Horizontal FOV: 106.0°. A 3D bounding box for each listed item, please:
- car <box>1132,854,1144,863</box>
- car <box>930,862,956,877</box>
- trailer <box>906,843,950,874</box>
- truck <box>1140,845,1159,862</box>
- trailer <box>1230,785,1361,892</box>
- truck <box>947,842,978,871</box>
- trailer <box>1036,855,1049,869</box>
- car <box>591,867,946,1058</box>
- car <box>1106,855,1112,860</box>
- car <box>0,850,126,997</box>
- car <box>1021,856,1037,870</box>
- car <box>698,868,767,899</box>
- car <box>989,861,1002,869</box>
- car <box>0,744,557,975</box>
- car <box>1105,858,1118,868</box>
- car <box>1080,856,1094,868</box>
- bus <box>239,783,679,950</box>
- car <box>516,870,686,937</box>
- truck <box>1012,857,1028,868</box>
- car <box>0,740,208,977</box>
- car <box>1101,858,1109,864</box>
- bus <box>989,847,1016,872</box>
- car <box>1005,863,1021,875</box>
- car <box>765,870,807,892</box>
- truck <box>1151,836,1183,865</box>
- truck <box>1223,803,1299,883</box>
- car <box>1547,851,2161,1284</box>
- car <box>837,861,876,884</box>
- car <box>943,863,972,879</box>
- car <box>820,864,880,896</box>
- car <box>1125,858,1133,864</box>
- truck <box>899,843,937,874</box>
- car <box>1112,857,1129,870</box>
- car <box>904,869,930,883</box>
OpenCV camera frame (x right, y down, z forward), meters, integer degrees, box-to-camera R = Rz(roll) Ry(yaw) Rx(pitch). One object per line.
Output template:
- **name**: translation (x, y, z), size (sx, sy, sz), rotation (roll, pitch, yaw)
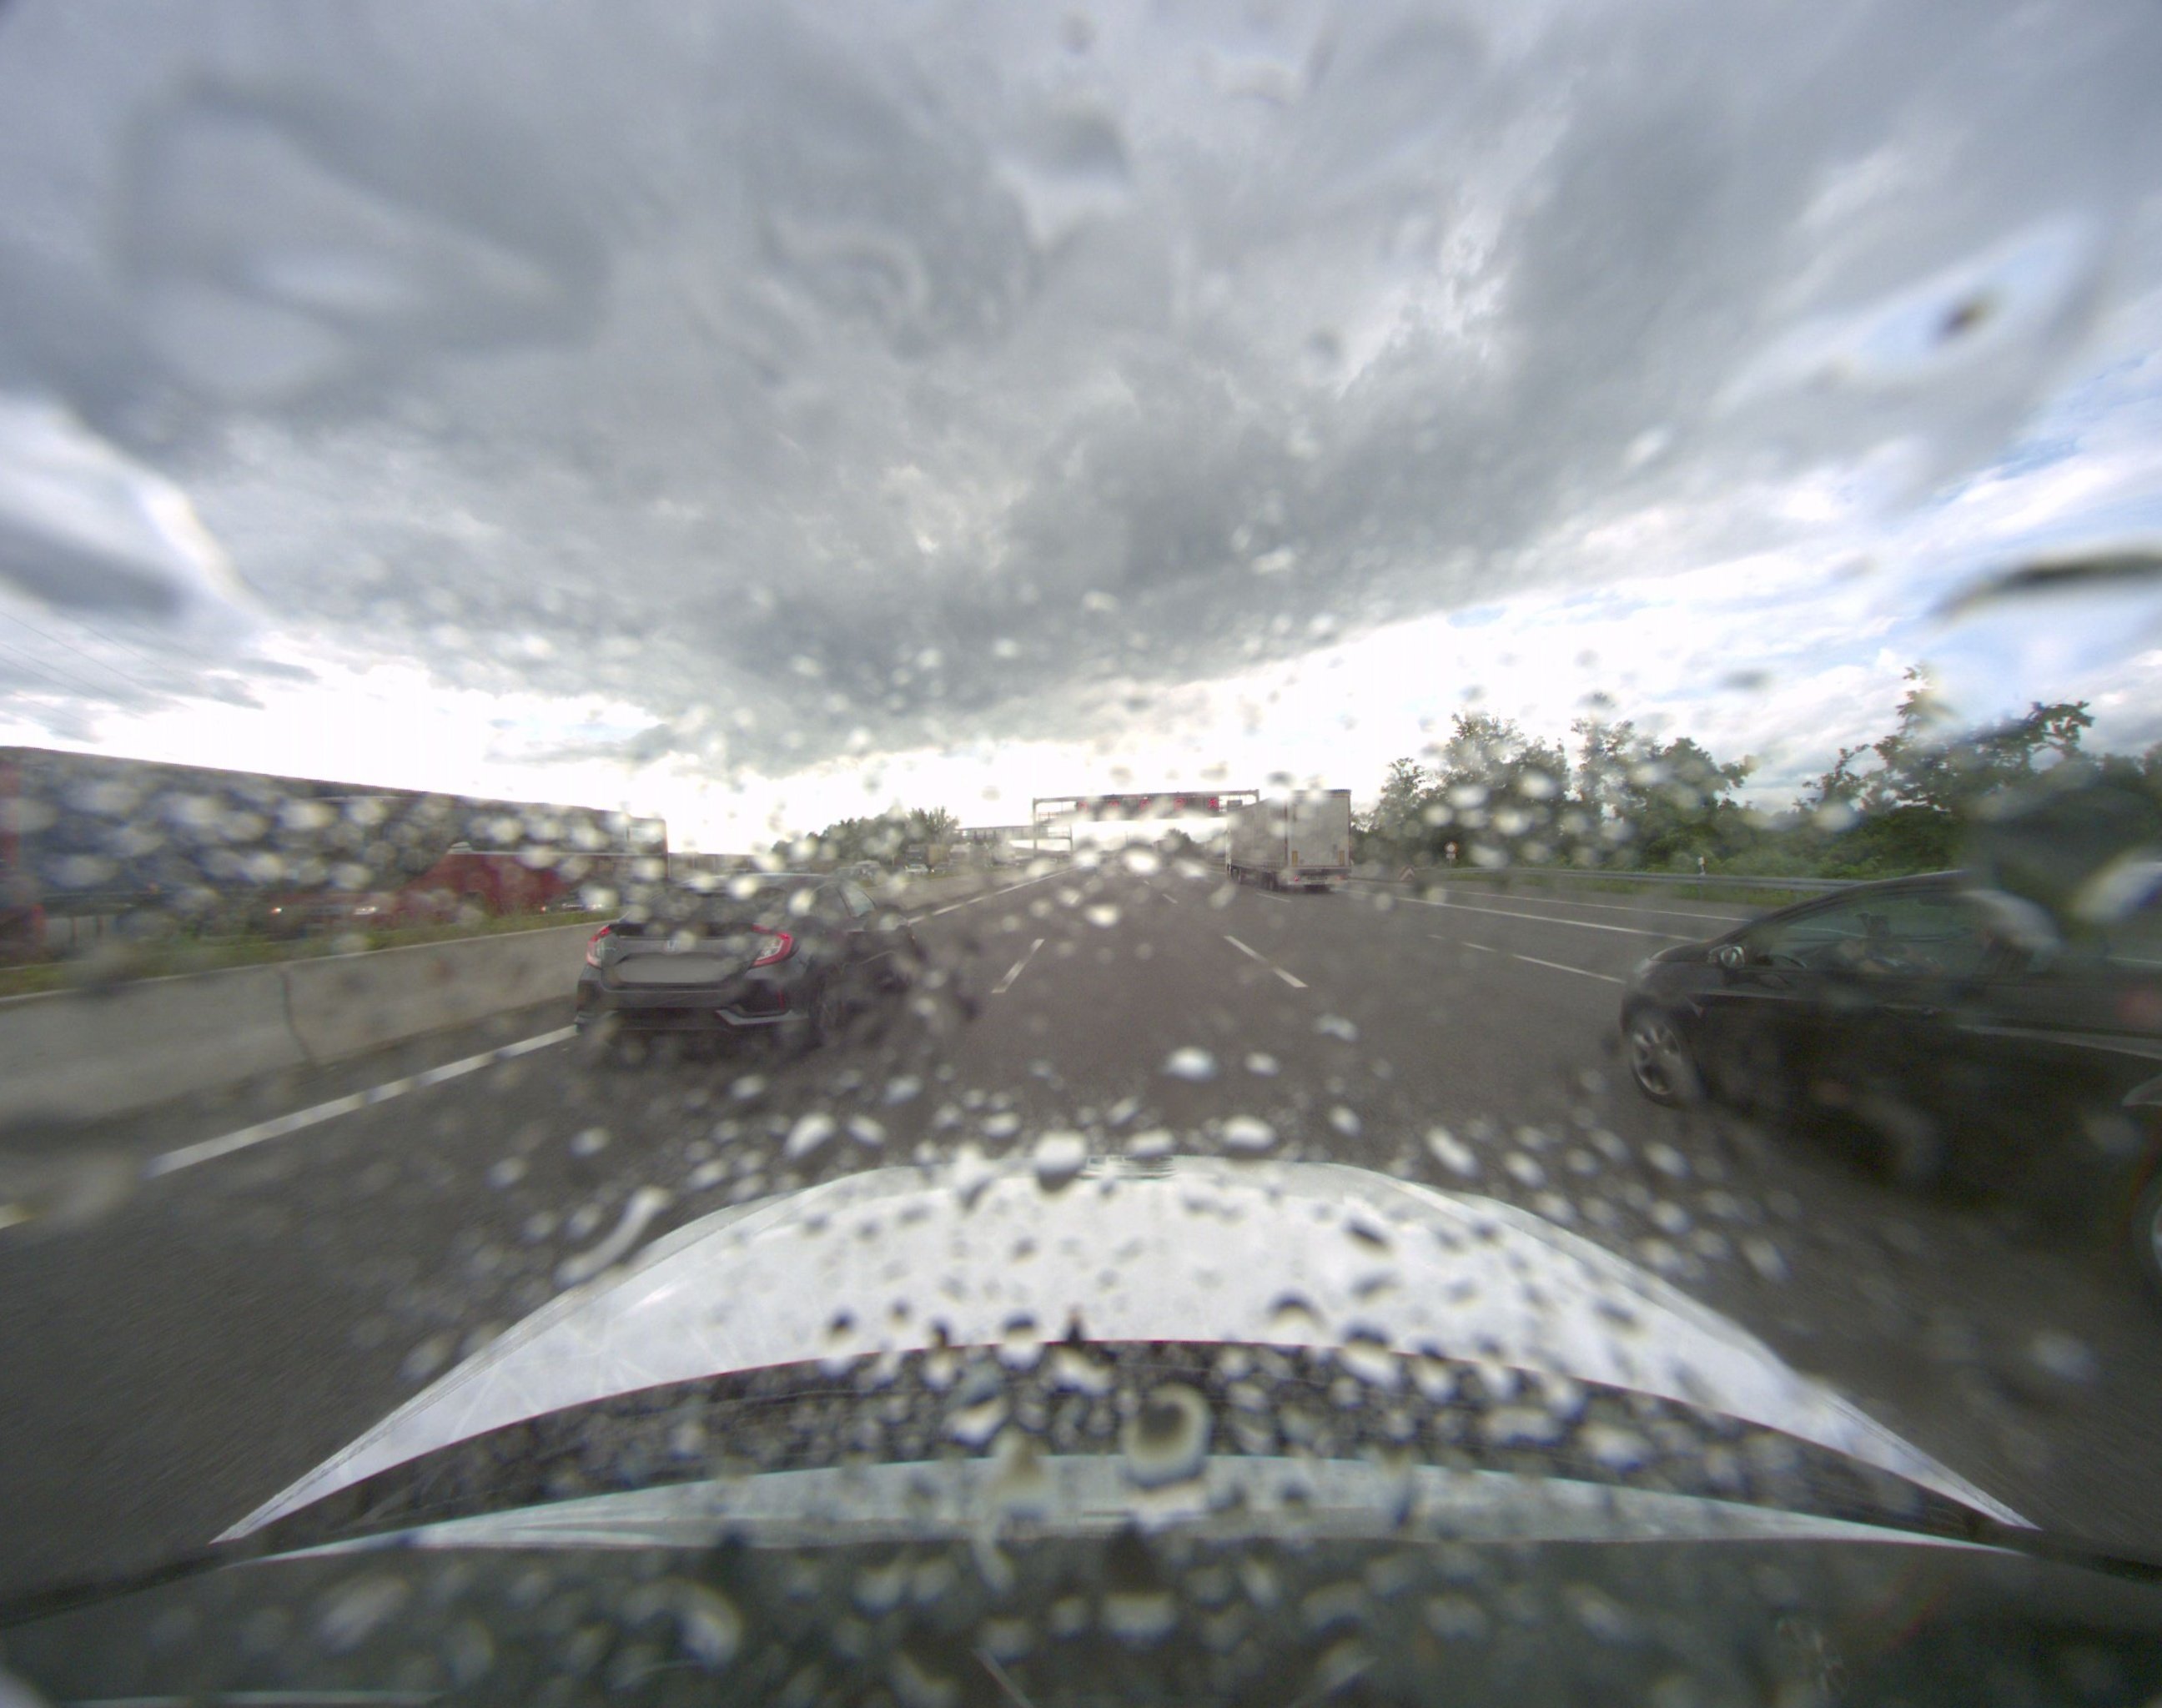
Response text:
- **car**: translation (9.369, 0.708, 133.857), size (1.829, 1.441, 4.057), rotation (-1, 0, 2)
- **car**: translation (-14.297, 1.584, 84.375), size (1.781, 1.381, 4.862), rotation (0, 0, 1)
- **trailer**: translation (-21.310, 0.643, 114.596), size (3.016, 3.933, 12.984), rotation (-2, -1, 3)
- **truck**: translation (17.577, -0.083, 209.230), size (4.227, 4.176, 11.995), rotation (0, 0, 2)
- **trailer**: translation (9.412, -0.594, 37.875), size (2.949, 4.020, 14.128), rotation (-1, 0, 3)
- **truck**: translation (-16.587, 0.317, 114.607), size (2.873, 3.961, 7.543), rotation (0, 0, 4)
- **trailer**: translation (-9.055, 1.846, 190.929), size (2.439, 3.138, 6.055), rotation (-2, 0, 3)
- **car**: translation (-2.832, 0.877, 8.814), size (1.754, 1.369, 5.062), rotation (-1, 0, 2)
- **car**: translation (8.343, 0.963, 244.220), size (1.765, 1.441, 4.057), rotation (-1, 0, 2)
- **car**: translation (-13.148, 0.790, 8.264), size (1.781, 1.666, 4.297), rotation (0, 0, 1)
- **car**: translation (-8.515, 1.437, 133.200), size (2.128, 2.352, 5.712), rotation (0, 0, 1)
- **car**: translation (-19.291, 1.590, 45.286), size (1.781, 1.591, 4.583), rotation (0, 0, 1)
- **car**: translation (-16.901, 2.114, 160.715), size (1.800, 1.488, 4.777), rotation (-2, -1, 3)
- **car**: translation (-20.277, 0.123, 21.721), size (2.972, 4.124, 14.398), rotation (0, 0, 1)
- **car**: translation (4.647, 1.308, 124.909), size (1.766, 1.441, 4.055), rotation (-1, 0, 0)
- **car**: translation (0.812, 1.049, 104.169), size (1.766, 1.441, 3.874), rotation (-1, 0, 1)
- **bus**: translation (-16.571, 0.291, 23.943), size (2.879, 3.611, 12.762), rotation (0, 0, 1)
- **car**: translation (-12.647, 1.228, 21.856), size (1.781, 1.533, 4.566), rotation (0, 0, 1)
- **truck**: translation (-11.249, 1.539, 149.636), size (2.235, 2.000, 5.547), rotation (-2, -1, 2)
- **car**: translation (-20.461, 0.083, 14.598), size (2.972, 4.150, 6.044), rotation (0, 0, 1)
- **car**: translation (5.417, 1.603, 184.635), size (1.767, 1.441, 4.055), rotation (-1, 0, 0)
- **bus**: translation (-12.596, 0.886, 131.368), size (2.643, 3.679, 10.642), rotation (-2, -1, 3)
- **car**: translation (-9.020, 1.952, 108.638), size (1.730, 1.539, 4.378), rotation (0, 0, 1)
- **car**: translation (-23.228, 2.117, 64.249), size (1.781, 1.597, 3.956), rotation (0, 0, 1)
- **truck**: translation (13.531, -0.486, 129.099), size (4.165, 4.288, 12.616), rotation (0, 0, 1)
- **truck**: translation (9.703, -0.570, 44.515), size (2.949, 4.020, 6.593), rotation (-1, 0, 3)
- **car**: translation (4.096, 0.724, 4.335), size (1.442, 1.441, 3.164), rotation (-1, 0, 1)
- **car**: translation (-18.371, 1.491, 66.880), size (1.784, 1.739, 4.579), rotation (0, 0, 1)
- **car**: translation (-11.012, 1.493, 72.966), size (1.781, 1.381, 4.862), rotation (0, 0, 1)
- **car**: translation (-11.518, 1.259, 40.851), size (1.710, 1.523, 4.214), rotation (0, 0, 1)
- **car**: translation (11.241, 1.572, 191.580), size (1.829, 1.441, 4.057), rotation (-1, 0, 2)
- **truck**: translation (-21.644, 0.635, 108.669), size (3.016, 3.933, 7.716), rotation (-2, -1, 3)
- **car**: translation (4.643, 1.122, 96.188), size (1.766, 1.441, 4.055), rotation (-1, 0, 0)
- **car**: translation (-17.648, 2.333, 87.757), size (1.781, 1.381, 4.862), rotation (0, 0, 1)
